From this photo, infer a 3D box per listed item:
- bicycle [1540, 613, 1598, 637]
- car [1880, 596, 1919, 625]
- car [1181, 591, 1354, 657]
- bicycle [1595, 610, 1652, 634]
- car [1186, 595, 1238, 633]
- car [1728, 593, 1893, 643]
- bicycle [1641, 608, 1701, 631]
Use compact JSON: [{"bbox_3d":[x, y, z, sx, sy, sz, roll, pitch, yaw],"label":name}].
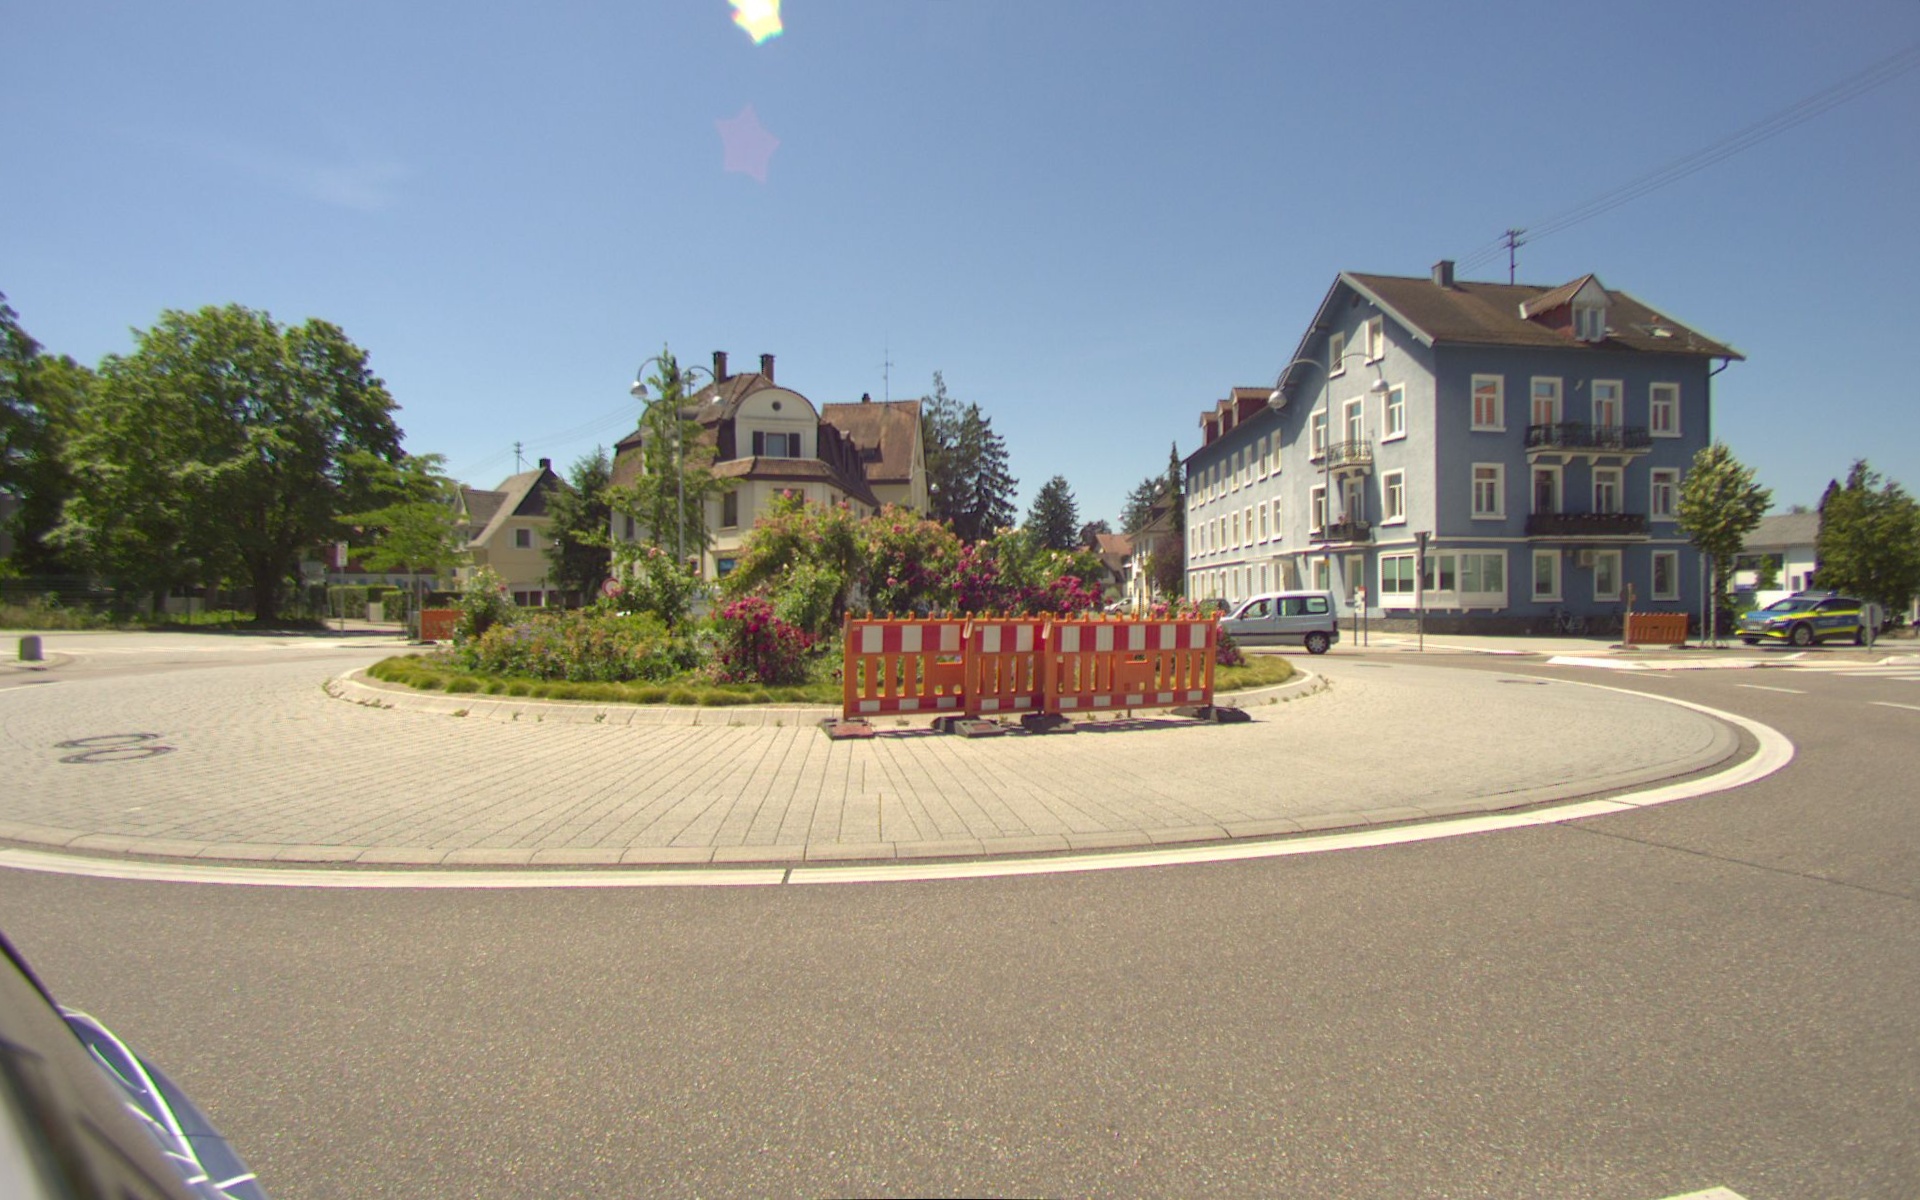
[{"bbox_3d":[23.469,0.951,39.004,2.052,0.918,0.614,0,-1,-12],"label":"bicycle"},{"bbox_3d":[48.700,0.527,50.280,1.967,1.475,4.009,1,0,-11],"label":"car"},{"bbox_3d":[8.698,0.660,28.768,4.530,1.750,1.988,0,-1,19],"label":"car"},{"bbox_3d":[26.230,0.868,40.004,2.052,0.918,0.614,0,-1,-12],"label":"bicycle"},{"bbox_3d":[13.707,0.733,55.258,1.973,1.861,3.998,-1,2,2],"label":"car"},{"bbox_3d":[27.906,0.584,33.242,4.429,1.581,1.661,0,-1,-10],"label":"car"},{"bbox_3d":[28.417,0.767,40.449,2.053,0.918,0.613,0,-1,-8],"label":"bicycle"}]
